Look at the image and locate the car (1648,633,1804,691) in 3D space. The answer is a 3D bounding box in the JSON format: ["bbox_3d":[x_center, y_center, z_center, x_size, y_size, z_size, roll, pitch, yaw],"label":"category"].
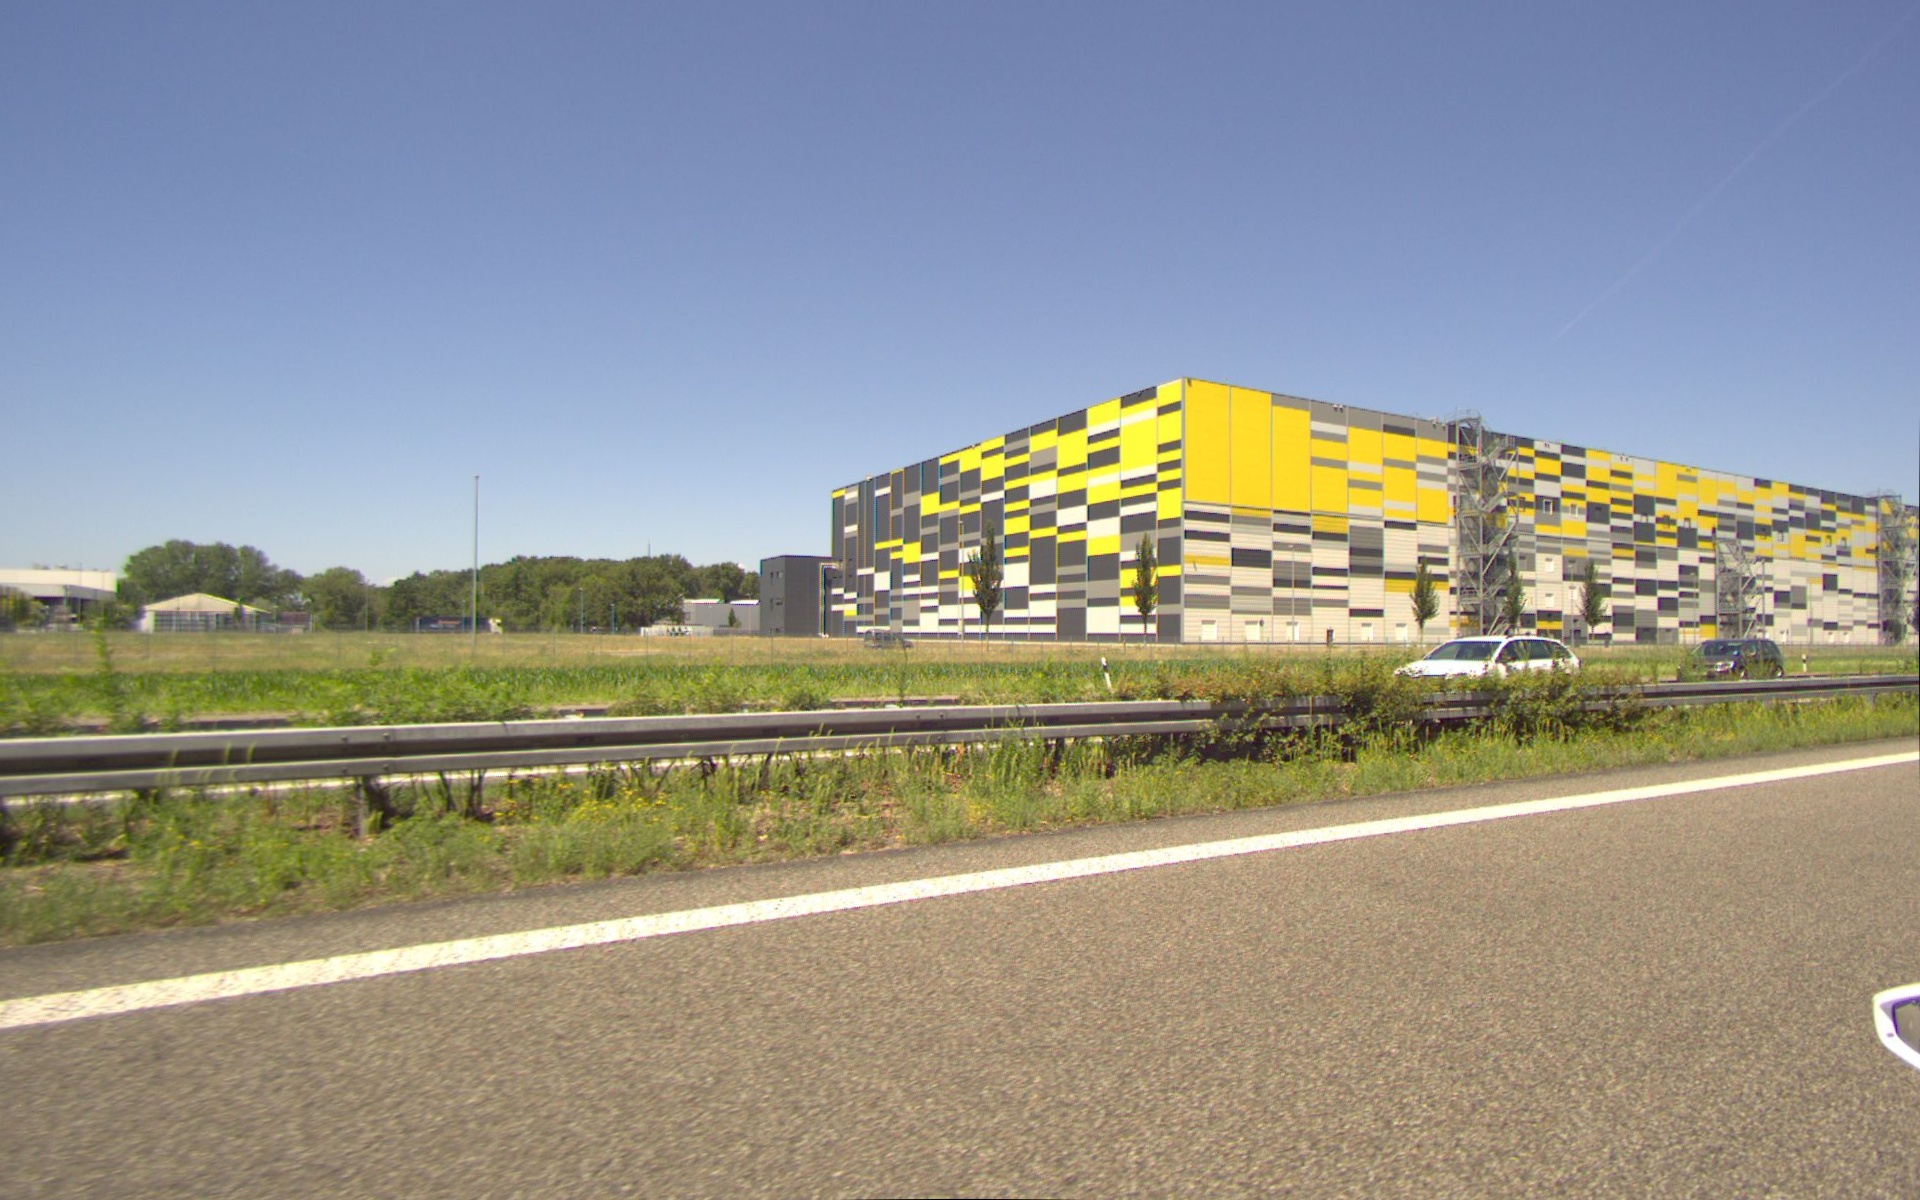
[{"bbox_3d":[25.963,2.042,34.001,5.286,1.839,2.307,1,-2,-29],"label":"car"}]

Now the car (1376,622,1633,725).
[{"bbox_3d":[10.945,1.395,20.091,5.354,1.830,2.036,1,-2,-30],"label":"car"}]

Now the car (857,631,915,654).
[{"bbox_3d":[-5.651,3.245,76.814,4.065,1.750,1.676,2,-2,-31],"label":"car"}]
